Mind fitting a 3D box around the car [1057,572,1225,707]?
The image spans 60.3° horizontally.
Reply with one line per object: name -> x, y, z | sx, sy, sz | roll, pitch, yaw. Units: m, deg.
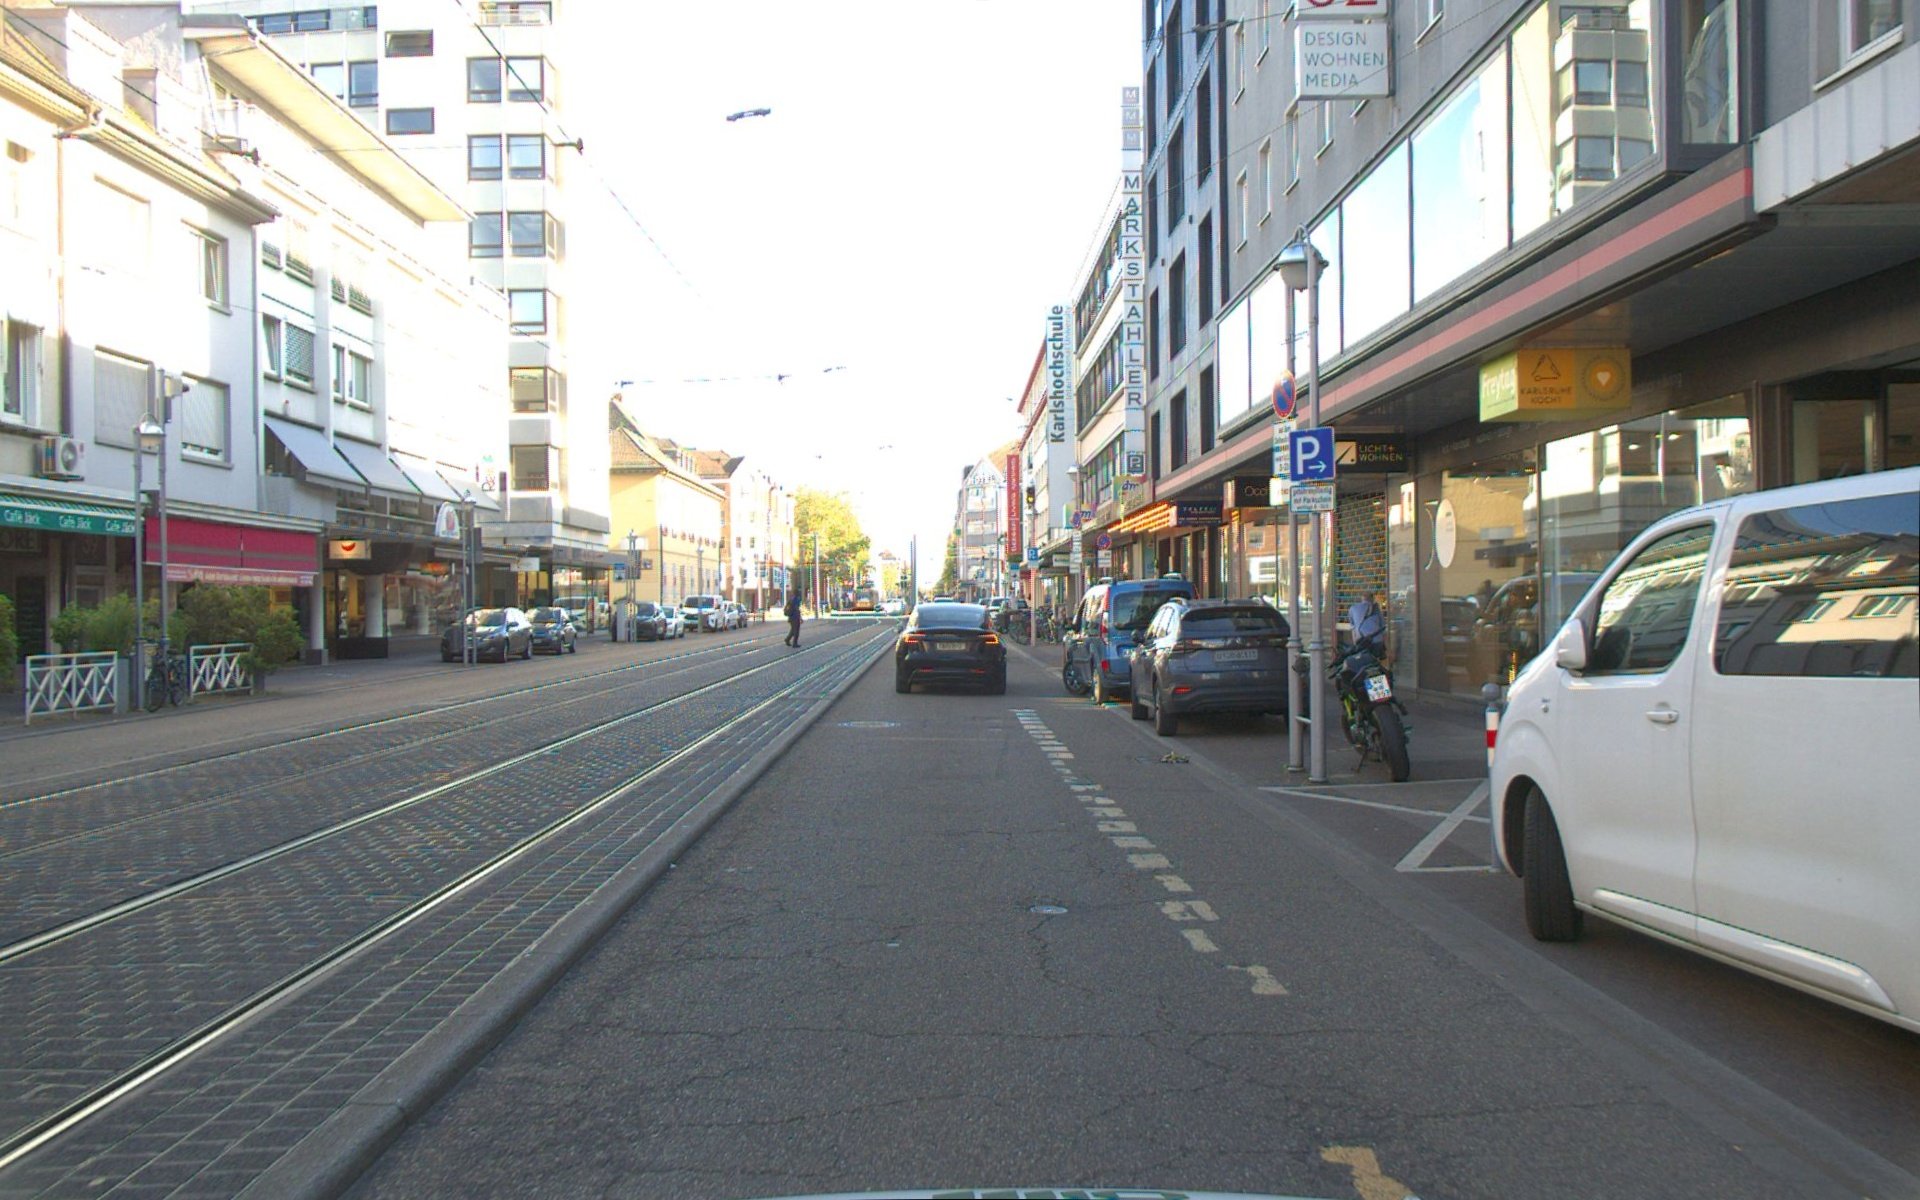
car -> 2.740, 0.577, 26.051 | 1.780, 1.892, 4.546 | -2, 0, -4

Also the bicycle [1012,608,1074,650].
bicycle -> 2.854, 0.980, 56.879 | 2.000, 1.296, 0.523 | -4, 0, -11

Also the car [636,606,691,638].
car -> -13.779, 1.008, 77.005 | 1.850, 1.446, 4.654 | 1, 0, -2

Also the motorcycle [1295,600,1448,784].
motorcycle -> 3.530, 0.740, 14.394 | 0.646, 1.457, 2.321 | -2, 0, -2

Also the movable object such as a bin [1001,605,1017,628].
movable object such as a bin -> 2.248, 0.761, 76.034 | 0.672, 1.032, 0.508 | -2, 0, 2

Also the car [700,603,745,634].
car -> -13.860, 1.066, 96.672 | 1.770, 1.715, 4.649 | 1, 0, 2

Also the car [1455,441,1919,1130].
car -> 3.627, 0.503, 5.822 | 2.005, 1.944, 4.875 | -2, 0, -4

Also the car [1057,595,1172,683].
car -> 2.941, 0.717, 32.216 | 1.687, 1.510, 4.415 | -3, 0, -1

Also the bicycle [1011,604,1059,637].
bicycle -> 2.863, 0.785, 63.364 | 1.751, 1.179, 0.669 | -2, 0, -2

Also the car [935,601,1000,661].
car -> 0.181, 0.792, 43.631 | 1.619, 1.443, 4.000 | 1, 1, 0

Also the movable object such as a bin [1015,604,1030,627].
movable object such as a bin -> 2.881, 0.721, 75.847 | 0.644, 1.032, 0.636 | -2, 0, 2

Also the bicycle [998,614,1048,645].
bicycle -> 2.285, 1.068, 60.014 | 1.737, 1.050, 0.596 | -2, 0, -2

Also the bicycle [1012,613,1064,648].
bicycle -> 2.727, 1.075, 57.669 | 1.739, 1.150, 0.478 | -2, 0, -7

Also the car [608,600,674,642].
car -> -13.680, 0.869, 71.135 | 1.938, 1.708, 4.654 | 1, 0, 0

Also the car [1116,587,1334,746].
car -> 3.030, 0.713, 19.760 | 1.728, 1.605, 4.286 | -3, 0, -2

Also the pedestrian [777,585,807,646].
pedestrian -> -5.241, 0.483, 51.670 | 0.788, 1.869, 0.746 | -2, 0, -2

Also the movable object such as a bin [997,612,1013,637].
movable object such as a bin -> 2.050, 1.105, 75.348 | 0.676, 1.108, 0.686 | -2, 0, 2

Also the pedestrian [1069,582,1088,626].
pedestrian -> 4.371, 0.145, 61.092 | 0.570, 1.613, 0.597 | -3, 0, -3

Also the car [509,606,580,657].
car -> -13.415, 0.994, 53.579 | 1.569, 1.550, 3.587 | 1, 0, -3

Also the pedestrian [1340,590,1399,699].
pedestrian -> 5.727, 0.614, 23.159 | 0.564, 1.464, 0.730 | -3, 0, -1

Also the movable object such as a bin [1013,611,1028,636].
movable object such as a bin -> 2.754, 1.065, 75.242 | 0.676, 1.108, 0.666 | -2, 0, 2

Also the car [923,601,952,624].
car -> -1.557, 0.843, 114.164 | 1.748, 1.545, 4.215 | 1, 0, -4

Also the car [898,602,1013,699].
car -> -0.128, 0.806, 27.922 | 1.811, 1.510, 3.786 | 0, 0, -2

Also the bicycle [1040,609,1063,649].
bicycle -> 3.066, 0.971, 55.595 | 0.570, 1.279, 1.601 | -3, 0, -2

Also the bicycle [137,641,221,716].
bicycle -> -12.397, 1.224, 26.302 | 0.508, 1.109, 1.716 | 1, 0, -1

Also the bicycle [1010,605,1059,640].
bicycle -> 2.803, 0.837, 62.332 | 1.751, 1.238, 0.669 | -2, 0, -2

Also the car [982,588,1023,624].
car -> 2.211, 0.327, 87.273 | 1.812, 1.754, 5.191 | -3, 0, -1

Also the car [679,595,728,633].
car -> -13.917, 0.753, 90.141 | 1.953, 2.010, 5.095 | 1, 0, -1

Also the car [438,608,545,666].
car -> -13.467, 1.021, 47.837 | 1.701, 1.550, 4.851 | 1, 0, 0

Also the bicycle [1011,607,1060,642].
bicycle -> 2.792, 0.904, 61.354 | 1.751, 1.238, 0.587 | -2, 0, -2

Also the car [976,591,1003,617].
car -> 2.038, 0.254, 114.970 | 1.709, 1.660, 3.648 | -2, 0, 0

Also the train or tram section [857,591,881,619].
train or tram section -> -12.927, 0.706, 235.193 | 2.619, 3.780, 14.191 | 1, 0, 0
